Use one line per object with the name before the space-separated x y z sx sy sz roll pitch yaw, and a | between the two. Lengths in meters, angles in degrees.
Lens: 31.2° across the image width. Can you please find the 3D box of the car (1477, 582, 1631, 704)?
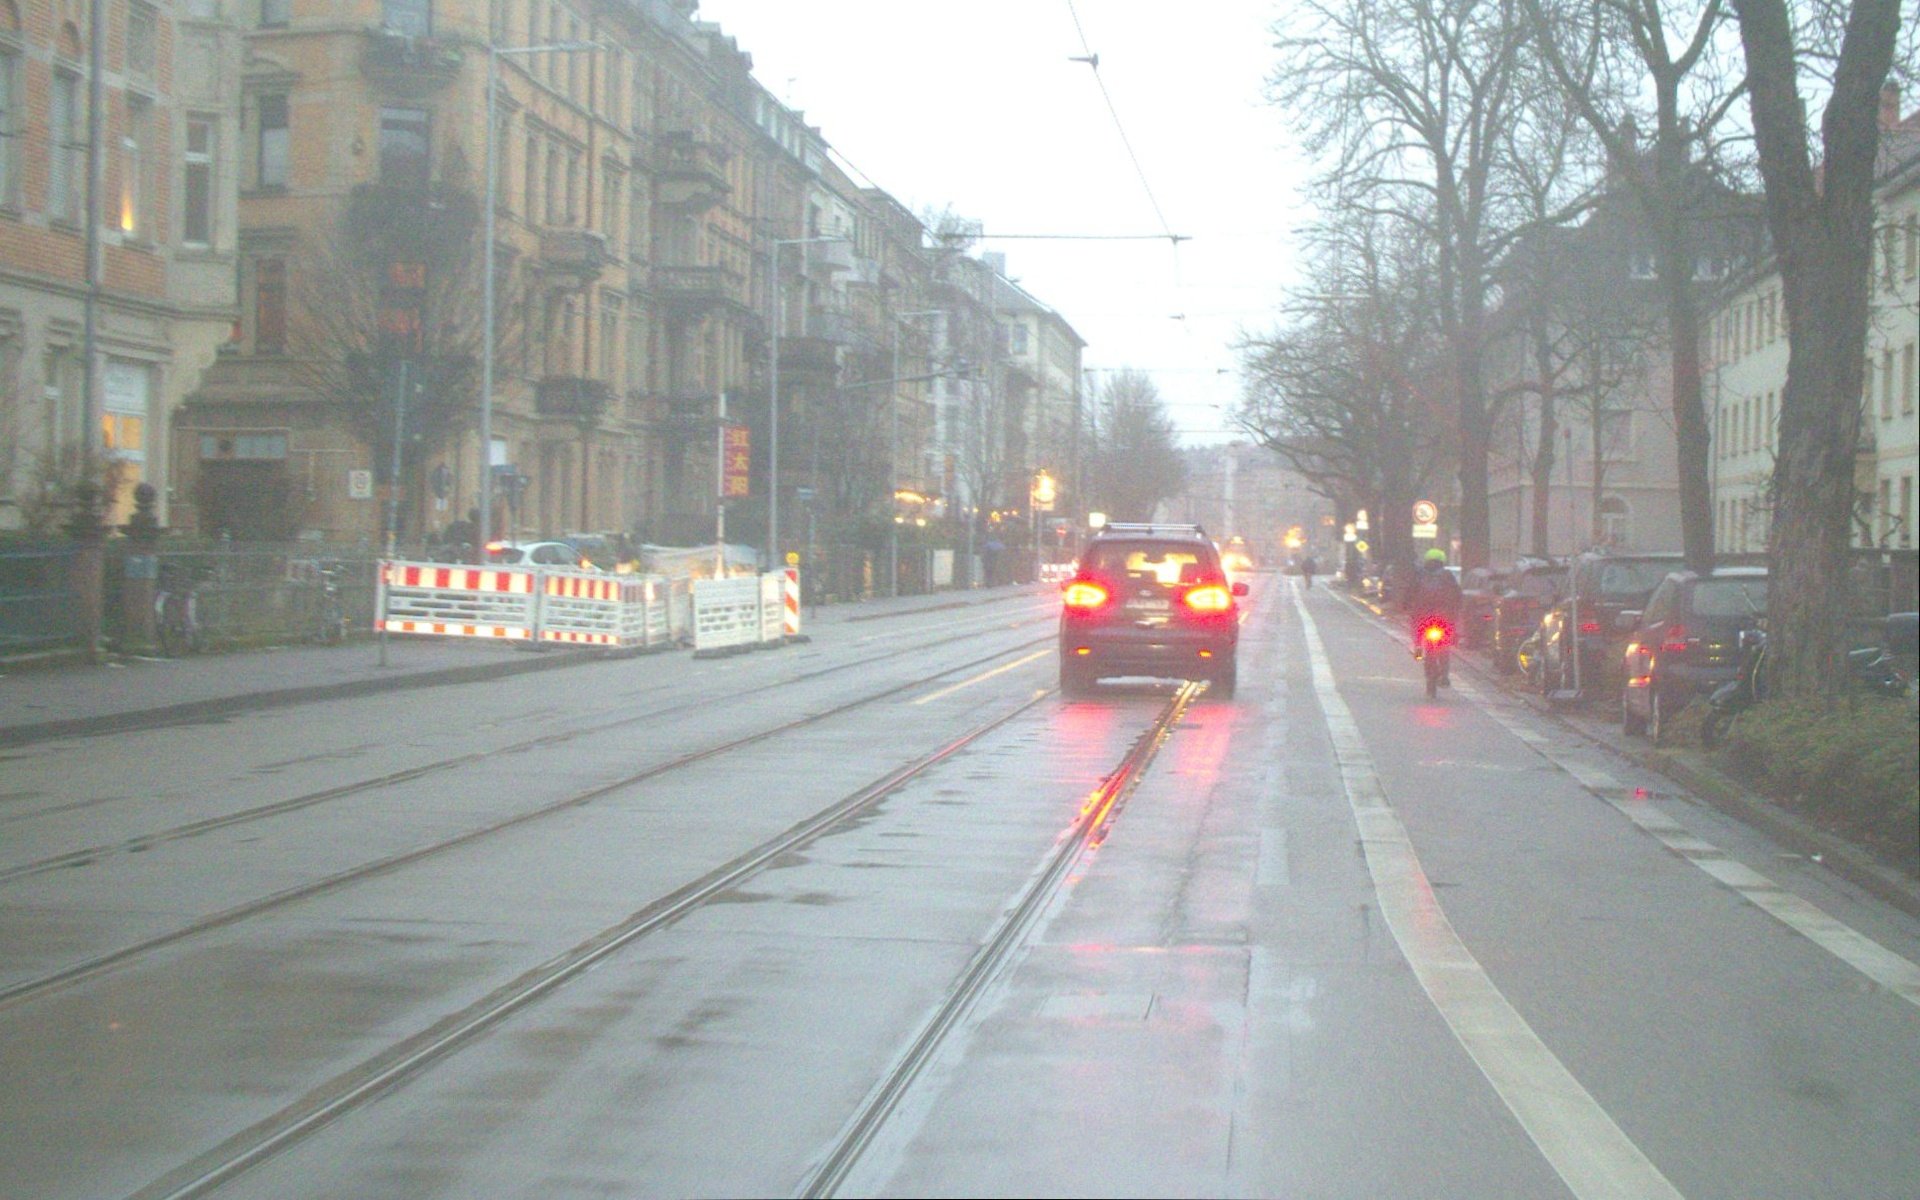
car | 8.576 0.589 49.970 1.906 1.604 4.560 3 0 7

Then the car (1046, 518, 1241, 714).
car | 2.055 0.151 37.546 1.802 1.864 4.017 5 1 5

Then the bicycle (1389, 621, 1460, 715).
bicycle | 5.336 0.775 39.557 0.731 1.003 1.763 3 0 7

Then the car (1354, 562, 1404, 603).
car | 16.384 -0.691 134.498 1.786 1.504 4.107 3 0 6

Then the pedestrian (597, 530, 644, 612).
pedestrian | -7.583 -0.649 76.755 0.718 1.767 0.770 2 0 -30

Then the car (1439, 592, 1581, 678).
car | 9.662 0.591 60.648 1.879 1.415 4.344 1 0 1

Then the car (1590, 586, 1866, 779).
car | 6.692 0.669 30.331 1.786 1.504 3.987 3 0 5

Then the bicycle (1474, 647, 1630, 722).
bicycle | 7.971 1.136 46.295 2.015 0.913 0.464 2 0 15

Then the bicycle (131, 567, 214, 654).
bicycle | -8.723 0.110 38.109 0.263 0.912 1.685 8 1 5

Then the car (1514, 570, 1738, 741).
car | 7.470 0.576 38.981 1.906 1.721 4.901 3 0 5

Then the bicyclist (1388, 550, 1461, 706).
bicyclist | 5.331 0.319 39.465 0.730 1.730 0.765 3 0 7
